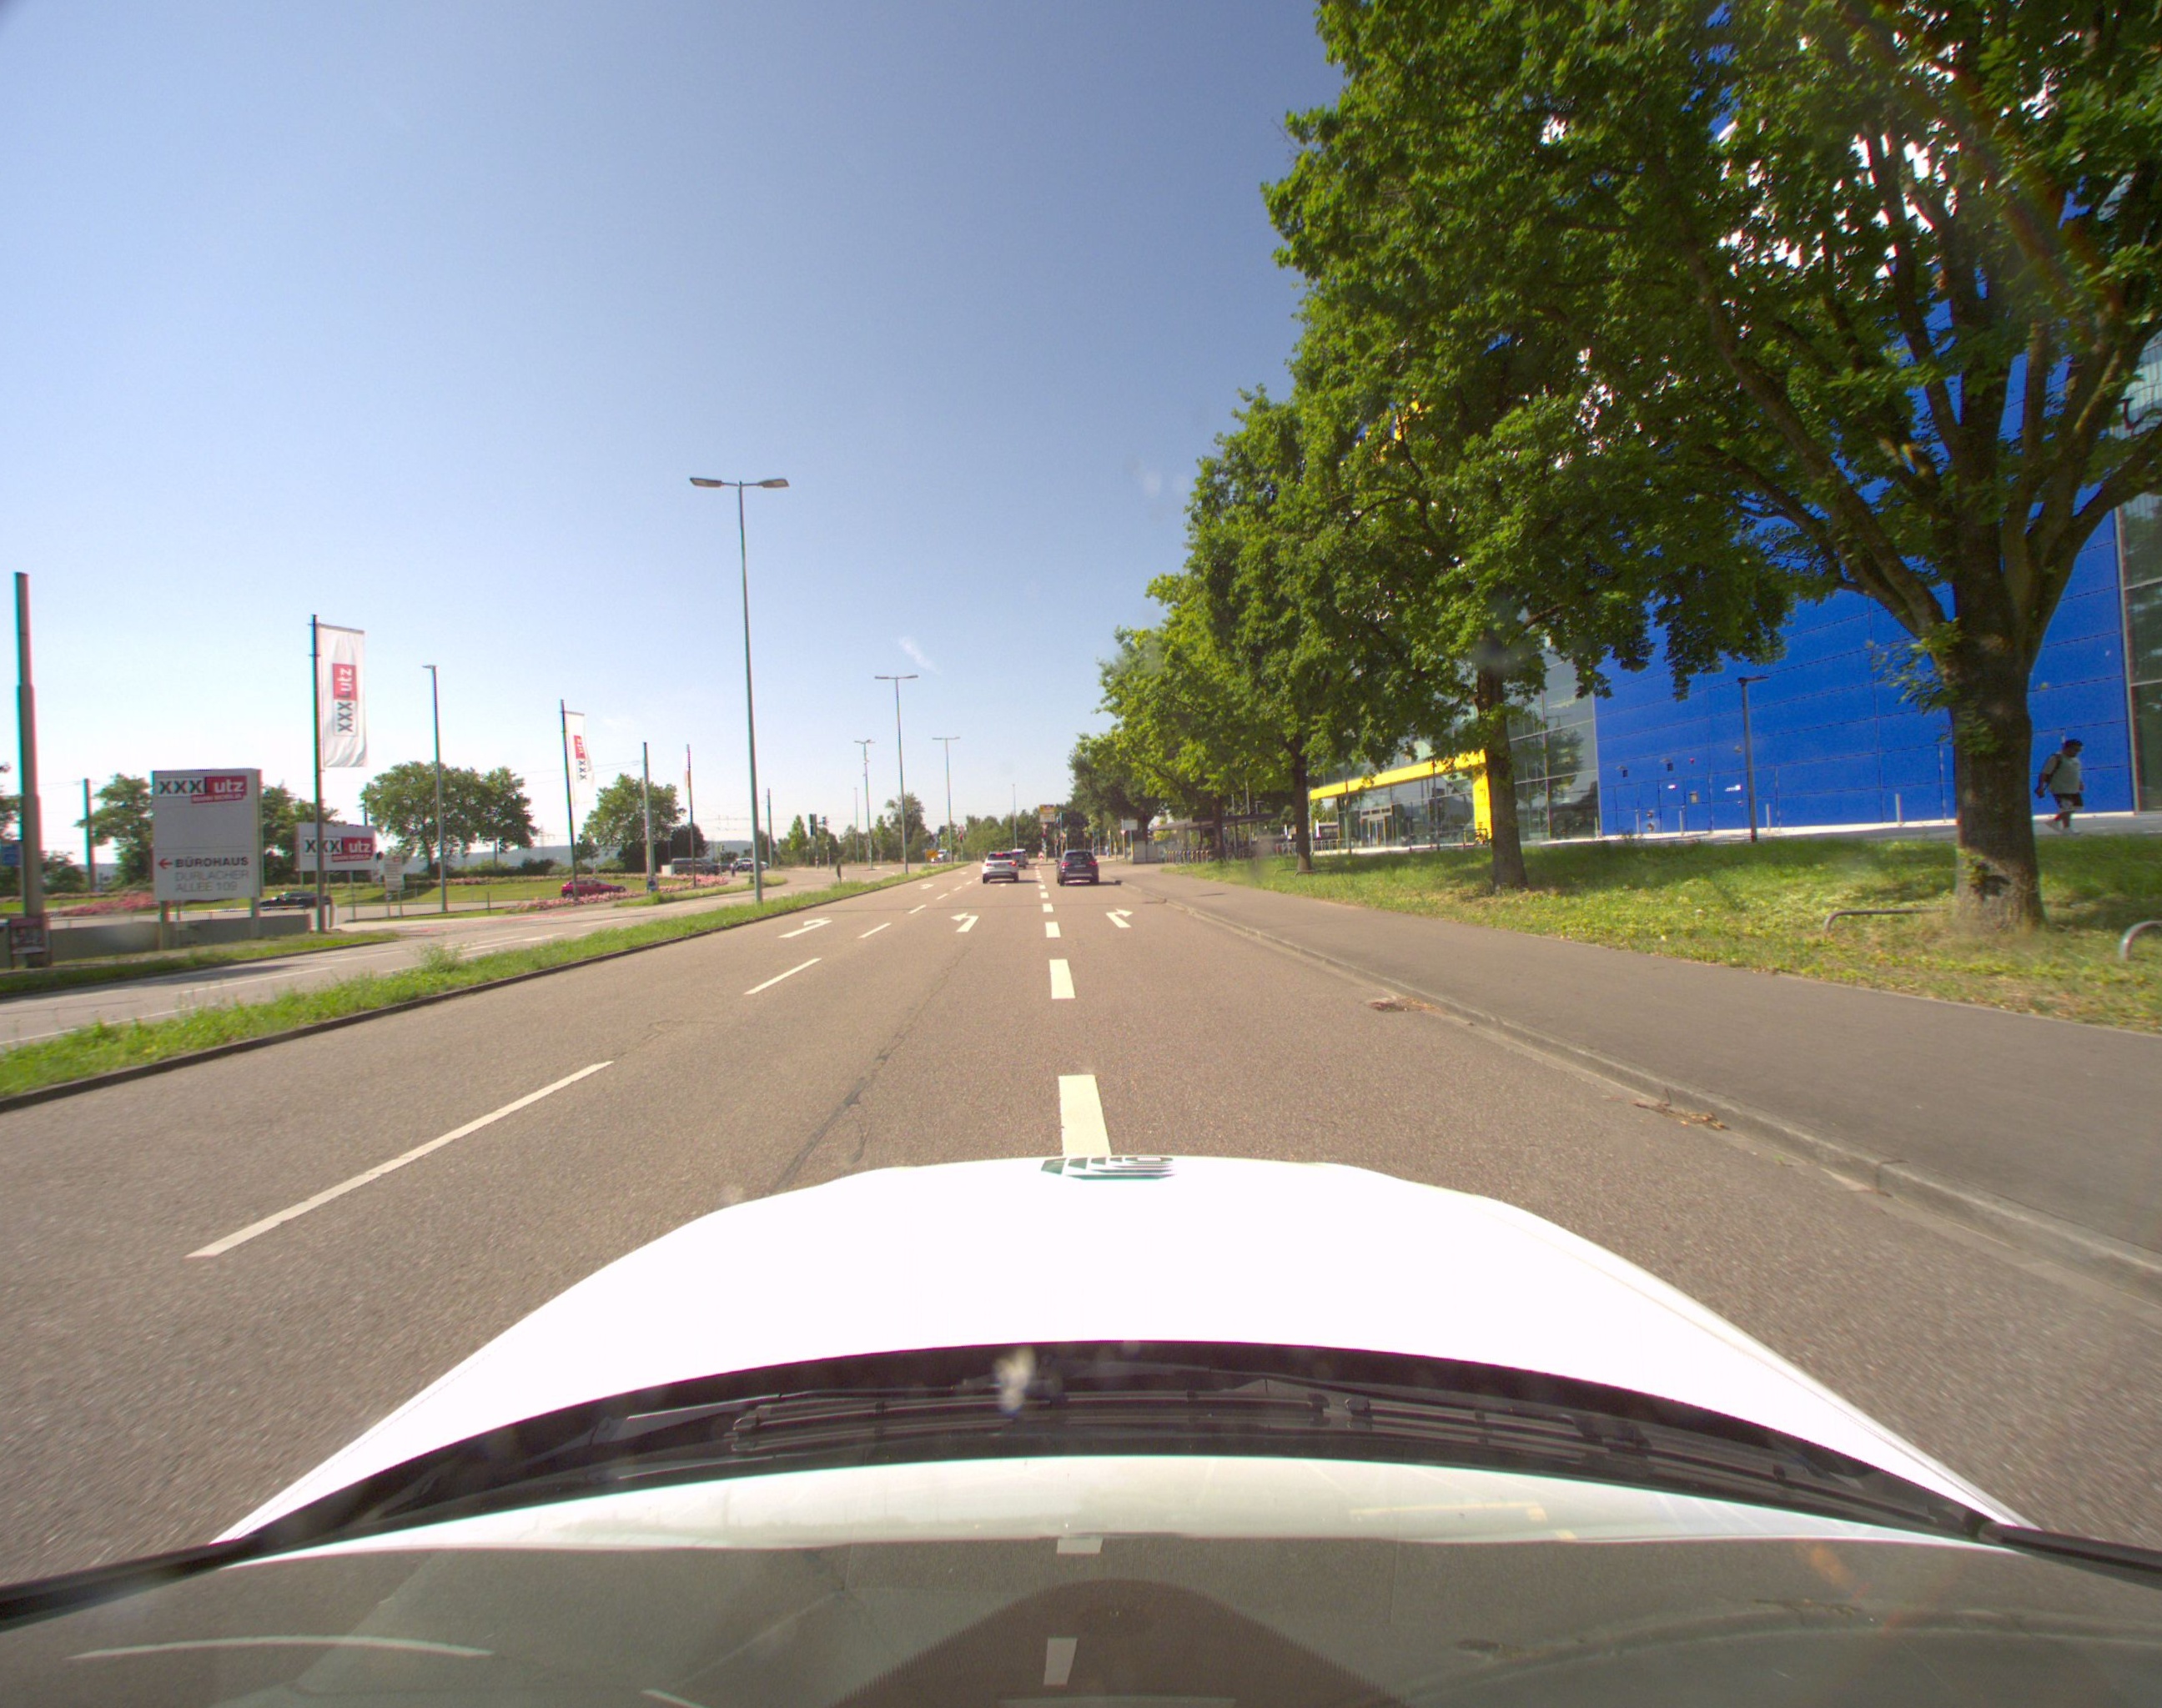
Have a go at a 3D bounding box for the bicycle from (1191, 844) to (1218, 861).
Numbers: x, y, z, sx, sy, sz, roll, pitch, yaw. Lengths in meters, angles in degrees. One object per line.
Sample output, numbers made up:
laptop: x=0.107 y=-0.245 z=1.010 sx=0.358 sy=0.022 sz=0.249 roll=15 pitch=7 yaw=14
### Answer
bicycle: x=8.400 y=-0.110 z=55.465 sx=1.755 sy=1.096 sz=0.451 roll=-3 pitch=0 yaw=-4

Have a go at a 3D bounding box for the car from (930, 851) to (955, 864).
car: x=-17.557 y=0.378 z=103.599 sx=1.783 sy=1.547 sz=4.097 roll=-2 pitch=0 yaw=9

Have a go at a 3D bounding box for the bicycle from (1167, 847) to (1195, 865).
bicycle: x=6.664 y=0.103 z=54.412 sx=1.755 sy=1.096 sz=0.451 roll=-3 pitch=0 yaw=-4

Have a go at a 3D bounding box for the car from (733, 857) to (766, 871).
car: x=-39.730 y=1.243 z=97.741 sx=3.341 sy=1.500 sz=1.406 roll=-3 pitch=-1 yaw=-8

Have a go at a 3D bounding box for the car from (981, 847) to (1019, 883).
car: x=-3.978 y=0.505 z=40.580 sx=1.627 sy=1.498 sz=3.867 roll=-2 pitch=2 yaw=-3

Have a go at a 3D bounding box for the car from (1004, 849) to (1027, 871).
car: x=-5.246 y=0.448 z=65.365 sx=1.703 sy=1.573 sz=4.167 roll=-4 pitch=1 yaw=-5

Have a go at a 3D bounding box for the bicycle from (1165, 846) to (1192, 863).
bicycle: x=6.636 y=0.032 z=55.411 sx=1.755 sy=1.096 sz=0.451 roll=-3 pitch=0 yaw=-4

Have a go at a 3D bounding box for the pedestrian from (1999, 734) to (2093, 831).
pedestrian: x=16.925 y=-1.235 z=14.300 sx=0.687 sy=1.612 sz=0.769 roll=-4 pitch=0 yaw=-7

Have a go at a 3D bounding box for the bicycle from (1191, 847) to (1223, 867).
bicycle: x=7.393 y=0.155 z=47.972 sx=1.755 sy=1.096 sz=0.451 roll=-3 pitch=0 yaw=-4

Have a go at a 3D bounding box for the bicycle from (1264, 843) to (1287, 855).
bicycle: x=14.513 y=-0.374 z=60.726 sx=1.557 sy=0.843 sz=0.433 roll=-3 pitch=0 yaw=-1

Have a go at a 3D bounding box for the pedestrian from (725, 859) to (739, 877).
pedestrian: x=-33.752 y=1.325 z=78.735 sx=0.835 sy=1.707 sz=0.908 roll=-3 pitch=0 yaw=8

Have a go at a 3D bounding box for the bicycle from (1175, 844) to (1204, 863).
bicycle: x=6.941 y=-0.012 z=52.088 sx=1.755 sy=1.096 sz=0.451 roll=-3 pitch=0 yaw=-4

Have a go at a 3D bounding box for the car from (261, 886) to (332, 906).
car: x=-62.924 y=3.345 z=65.386 sx=3.841 sy=1.330 sz=1.726 roll=-3 pitch=-1 yaw=-5

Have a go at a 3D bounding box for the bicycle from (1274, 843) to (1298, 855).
bicycle: x=14.659 y=-0.356 z=58.219 sx=1.557 sy=0.843 sz=0.433 roll=-3 pitch=0 yaw=-2

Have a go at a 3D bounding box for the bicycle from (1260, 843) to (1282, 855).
bicycle: x=14.380 y=-0.376 z=61.758 sx=1.558 sy=0.843 sz=0.433 roll=-3 pitch=0 yaw=-3

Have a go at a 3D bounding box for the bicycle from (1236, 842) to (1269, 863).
bicycle: x=9.921 y=-0.074 z=47.017 sx=1.755 sy=1.096 sz=0.451 roll=-3 pitch=0 yaw=-4

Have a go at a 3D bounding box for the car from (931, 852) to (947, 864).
car: x=-12.895 y=0.357 z=74.023 sx=1.114 sy=1.004 sz=2.490 roll=-3 pitch=0 yaw=-2

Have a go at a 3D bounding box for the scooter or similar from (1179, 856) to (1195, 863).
scooter or similar: x=7.478 y=0.387 z=57.364 sx=0.909 sy=0.451 sz=0.965 roll=-5 pitch=-1 yaw=17

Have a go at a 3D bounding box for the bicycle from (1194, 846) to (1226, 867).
bicycle: x=7.466 y=0.160 z=47.152 sx=1.755 sy=1.096 sz=0.451 roll=-3 pitch=0 yaw=-4

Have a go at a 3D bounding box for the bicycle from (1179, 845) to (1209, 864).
bicycle: x=7.037 y=0.037 z=50.685 sx=1.755 sy=1.096 sz=0.451 roll=-3 pitch=0 yaw=-4

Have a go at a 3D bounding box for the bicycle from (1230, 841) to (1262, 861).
bicycle: x=9.806 y=-0.190 z=48.301 sx=1.755 sy=1.096 sz=0.451 roll=-3 pitch=0 yaw=-4

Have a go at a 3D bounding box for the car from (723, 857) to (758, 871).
car: x=-39.334 y=1.179 z=94.144 sx=3.382 sy=1.500 sz=1.406 roll=-3 pitch=-1 yaw=-7

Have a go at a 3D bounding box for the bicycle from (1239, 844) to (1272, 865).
bicycle: x=9.894 y=0.018 z=46.171 sx=1.755 sy=1.096 sz=0.451 roll=-3 pitch=0 yaw=-4

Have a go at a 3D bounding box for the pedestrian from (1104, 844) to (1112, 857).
pedestrian: x=3.171 y=-0.406 z=94.367 sx=0.768 sy=1.510 sz=1.010 roll=-3 pitch=1 yaw=7

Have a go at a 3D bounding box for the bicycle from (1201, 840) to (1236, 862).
bicycle: x=7.566 y=-0.185 z=44.770 sx=1.755 sy=1.096 sz=0.451 roll=-3 pitch=0 yaw=-4

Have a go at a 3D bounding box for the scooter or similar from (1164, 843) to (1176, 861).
scooter or similar: x=6.496 y=-0.122 z=59.324 sx=0.776 sy=1.265 sz=0.283 roll=-4 pitch=0 yaw=-7

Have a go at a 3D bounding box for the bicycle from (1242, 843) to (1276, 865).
bicycle: x=9.832 y=0.004 z=45.018 sx=1.755 sy=1.096 sz=0.451 roll=-3 pitch=0 yaw=-4

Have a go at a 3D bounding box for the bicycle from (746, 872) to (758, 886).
bicycle: x=-24.482 y=1.880 z=60.644 sx=0.330 sy=1.023 sz=1.639 roll=-4 pitch=-1 yaw=-7

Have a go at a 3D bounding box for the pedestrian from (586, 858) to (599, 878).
pedestrian: x=-48.360 y=1.388 z=80.593 sx=0.713 sy=1.972 sz=0.918 roll=-3 pitch=-1 yaw=1

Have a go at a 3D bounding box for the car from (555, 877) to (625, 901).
car: x=-37.587 y=2.661 z=62.455 sx=4.181 sy=1.605 sz=1.821 roll=-3 pitch=-1 yaw=-9

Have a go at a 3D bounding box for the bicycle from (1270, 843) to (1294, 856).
bicycle: x=14.590 y=-0.330 z=59.086 sx=1.557 sy=0.843 sz=0.433 roll=-3 pitch=0 yaw=-2

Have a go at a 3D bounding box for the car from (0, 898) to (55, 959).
car: x=-35.713 y=2.463 z=25.469 sx=4.405 sy=1.842 sz=1.942 roll=-3 pitch=-1 yaw=-5

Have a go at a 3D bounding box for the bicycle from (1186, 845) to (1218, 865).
bicycle: x=7.208 y=0.047 z=48.461 sx=1.755 sy=1.096 sz=0.451 roll=-3 pitch=0 yaw=-4

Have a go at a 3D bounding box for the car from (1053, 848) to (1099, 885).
car: x=-0.276 y=0.516 z=36.051 sx=1.668 sy=1.523 sz=3.369 roll=-2 pitch=0 yaw=-6

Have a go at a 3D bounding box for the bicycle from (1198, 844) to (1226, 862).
bicycle: x=8.559 y=-0.054 z=53.193 sx=1.755 sy=1.096 sz=0.451 roll=-3 pitch=0 yaw=-4

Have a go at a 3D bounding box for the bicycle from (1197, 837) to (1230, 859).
bicycle: x=7.465 y=-0.341 z=45.979 sx=1.755 sy=1.096 sz=0.462 roll=-3 pitch=0 yaw=-4

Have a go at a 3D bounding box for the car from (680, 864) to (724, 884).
car: x=-40.171 y=2.099 z=86.233 sx=3.955 sy=1.925 sz=1.825 roll=-1 pitch=1 yaw=18

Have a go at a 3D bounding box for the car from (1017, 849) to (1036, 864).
car: x=-5.365 y=0.238 z=80.635 sx=1.738 sy=1.448 sz=4.383 roll=-2 pitch=0 yaw=-3
